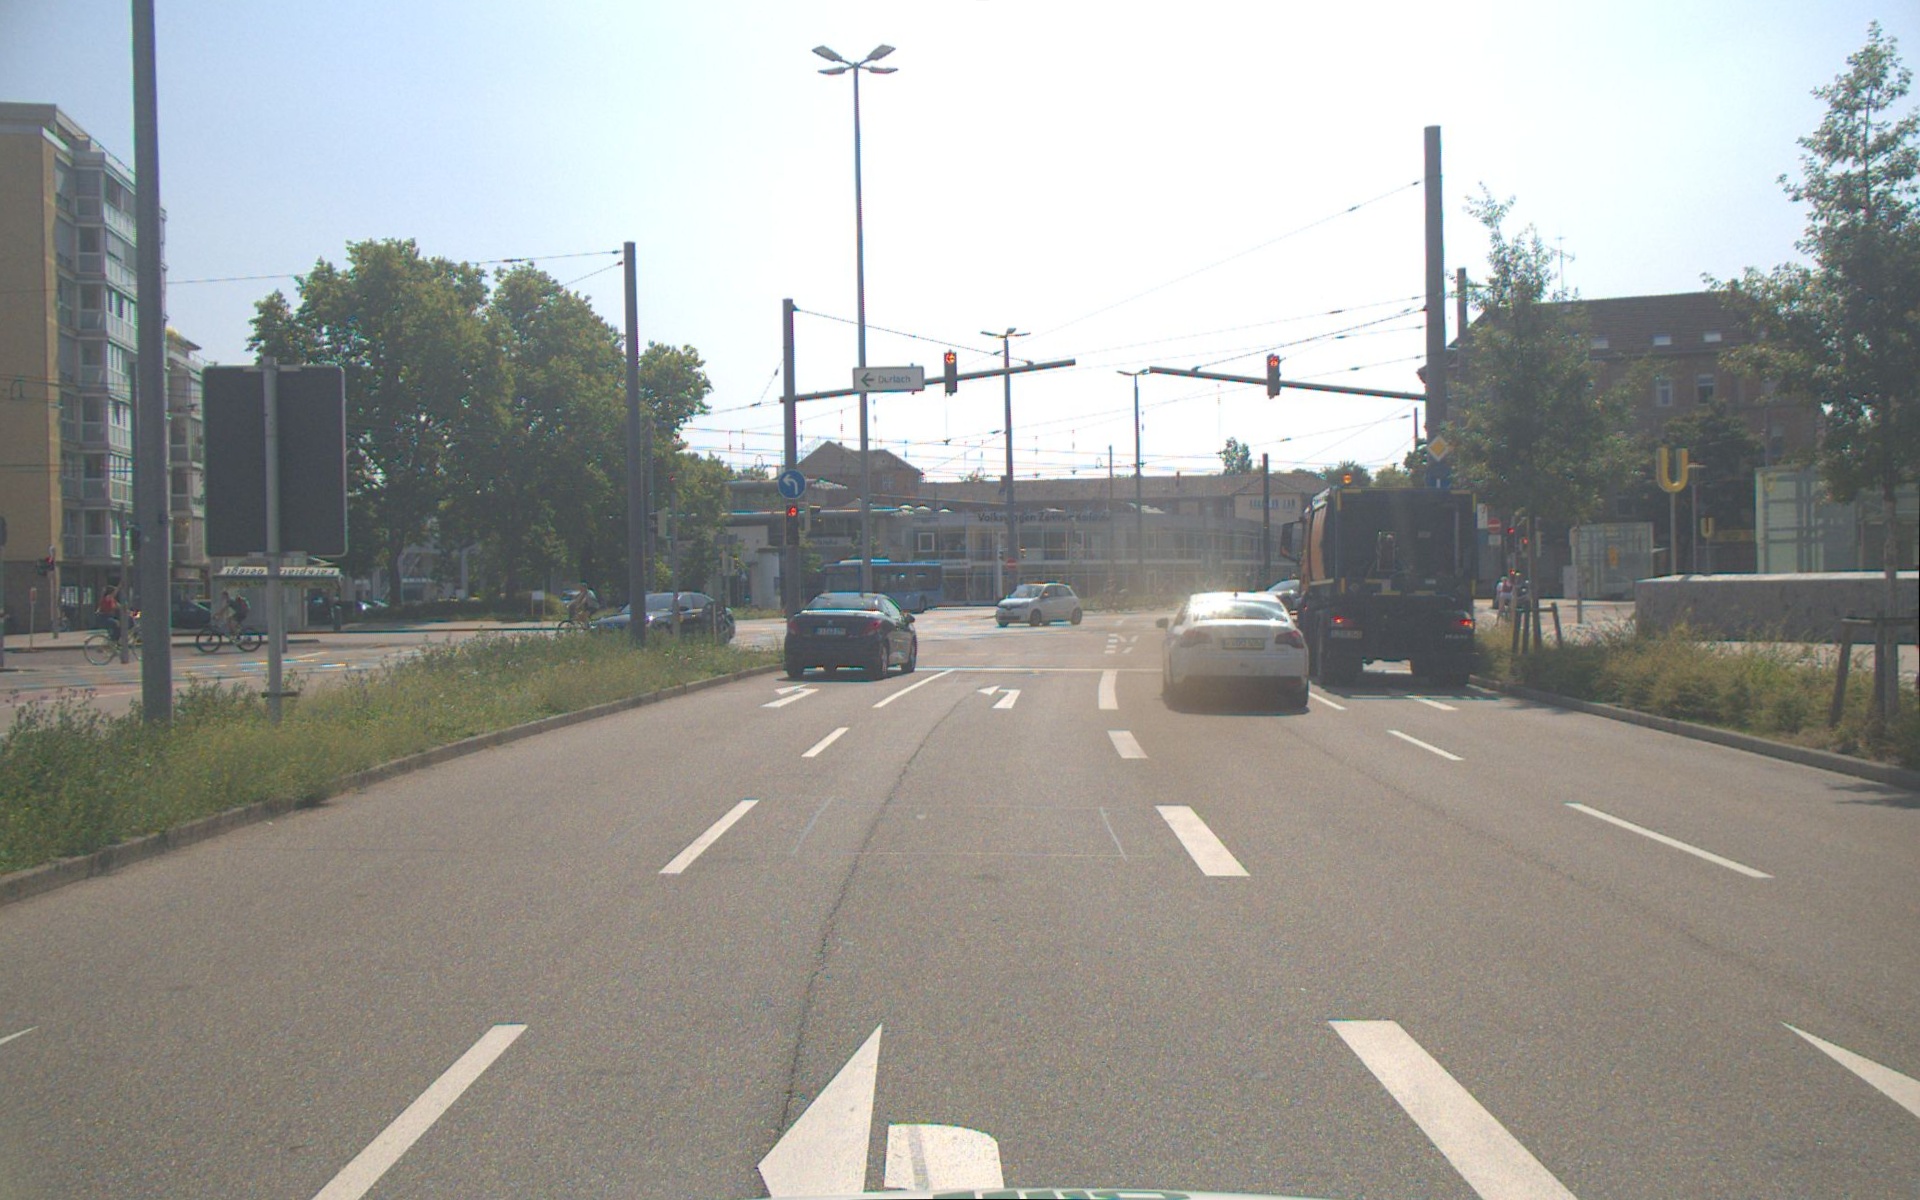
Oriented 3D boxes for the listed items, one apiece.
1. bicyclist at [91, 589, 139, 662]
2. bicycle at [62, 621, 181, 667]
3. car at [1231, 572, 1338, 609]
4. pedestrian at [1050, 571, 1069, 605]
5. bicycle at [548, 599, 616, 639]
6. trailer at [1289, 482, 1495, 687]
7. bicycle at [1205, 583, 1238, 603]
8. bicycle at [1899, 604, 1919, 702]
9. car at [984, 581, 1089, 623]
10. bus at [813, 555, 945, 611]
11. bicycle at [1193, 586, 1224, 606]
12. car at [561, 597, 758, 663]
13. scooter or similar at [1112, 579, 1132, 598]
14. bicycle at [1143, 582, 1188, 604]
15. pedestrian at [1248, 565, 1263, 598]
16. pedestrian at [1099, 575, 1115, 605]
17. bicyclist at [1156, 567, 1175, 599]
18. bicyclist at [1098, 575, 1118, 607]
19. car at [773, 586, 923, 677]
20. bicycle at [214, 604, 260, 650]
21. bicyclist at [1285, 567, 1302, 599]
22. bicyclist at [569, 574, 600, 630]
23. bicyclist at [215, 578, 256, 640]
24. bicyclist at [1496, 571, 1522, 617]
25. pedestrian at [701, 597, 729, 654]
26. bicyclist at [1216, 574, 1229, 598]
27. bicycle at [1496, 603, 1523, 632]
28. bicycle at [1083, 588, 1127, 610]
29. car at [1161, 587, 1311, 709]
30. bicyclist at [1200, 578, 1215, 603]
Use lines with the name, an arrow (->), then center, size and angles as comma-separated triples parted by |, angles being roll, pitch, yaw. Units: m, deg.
bicyclist -> -19.709, 0.582, 38.594 | 0.824, 1.671, 0.605 | -1, 0, -12
bicycle -> -19.556, 1.016, 38.631 | 2.367, 0.970, 0.602 | -2, 0, -13
car -> 13.835, -0.417, 70.381 | 4.537, 1.424, 1.921 | -2, 1, -37
pedestrian -> 5.195, -0.621, 86.179 | 0.767, 1.782, 0.809 | -1, 0, 20
bicycle -> -11.519, 0.585, 50.442 | 0.685, 1.156, 2.034 | -1, 0, 39
trailer -> 7.089, -0.282, 27.917 | 2.410, 3.060, 6.330 | 0, 1, 6
bicycle -> 13.134, -0.351, 83.217 | 1.558, 1.002, 0.507 | -1, 0, 21
bicycle -> 10.915, 0.594, 17.715 | 0.545, 1.078, 2.004 | -1, 0, 0
car -> 2.833, 0.062, 60.551 | 1.743, 1.450, 4.045 | -1, 1, 41
bus -> -4.414, -1.018, 94.268 | 2.990, 2.982, 11.854 | -1, 1, 21
bicycle -> 12.760, -0.190, 85.034 | 1.571, 1.002, 0.503 | -1, 0, -27
car -> -7.532, 0.721, 41.720 | 4.522, 1.463, 1.971 | -2, 0, -40
scooter or similar -> 8.470, -0.605, 86.623 | 0.821, 0.991, 0.790 | -1, 0, -12
bicycle -> 10.704, -0.381, 86.178 | 2.157, 1.106, 0.761 | -1, 0, -11
pedestrian -> 15.982, -0.995, 89.415 | 0.610, 1.782, 0.627 | -1, 0, -9
pedestrian -> 7.675, -0.524, 86.447 | 0.624, 1.588, 0.745 | -1, 0, -12
bicyclist -> 10.706, -0.874, 86.170 | 0.748, 1.662, 0.761 | -1, 0, -11
bicyclist -> 7.597, -0.463, 84.915 | 0.784, 1.568, 0.760 | -1, 0, -14
car -> -1.839, 0.492, 28.414 | 1.720, 1.429, 3.984 | 0, 1, 9
bicycle -> -20.045, 0.721, 45.827 | 0.961, 1.199, 2.806 | -2, 1, -28
bicyclist -> 16.251, -0.824, 80.673 | 0.651, 1.535, 0.714 | -1, 0, 25
bicyclist -> -11.468, 0.063, 50.520 | 0.679, 1.678, 0.617 | -1, 1, 38
bicyclist -> -20.085, 0.248, 45.876 | 0.961, 1.683, 0.656 | -1, 0, -29
bicyclist -> 16.545, -0.185, 49.845 | 0.660, 1.343, 0.684 | -1, 0, 16
pedestrian -> -5.734, 0.599, 38.745 | 0.585, 1.290, 0.503 | -2, 3, -14
bicyclist -> 13.209, -0.721, 83.188 | 0.493, 1.209, 0.507 | -1, 0, 21
bicycle -> 16.601, 0.523, 49.983 | 0.660, 0.790, 2.129 | -1, 1, 16
bicycle -> 7.441, -0.049, 84.879 | 2.160, 1.106, 0.760 | -1, 0, -14
car -> 3.704, 0.581, 22.795 | 1.720, 1.480, 4.429 | 0, 1, 5
bicyclist -> 12.712, -0.487, 85.016 | 0.587, 1.269, 0.503 | -1, 0, -27
